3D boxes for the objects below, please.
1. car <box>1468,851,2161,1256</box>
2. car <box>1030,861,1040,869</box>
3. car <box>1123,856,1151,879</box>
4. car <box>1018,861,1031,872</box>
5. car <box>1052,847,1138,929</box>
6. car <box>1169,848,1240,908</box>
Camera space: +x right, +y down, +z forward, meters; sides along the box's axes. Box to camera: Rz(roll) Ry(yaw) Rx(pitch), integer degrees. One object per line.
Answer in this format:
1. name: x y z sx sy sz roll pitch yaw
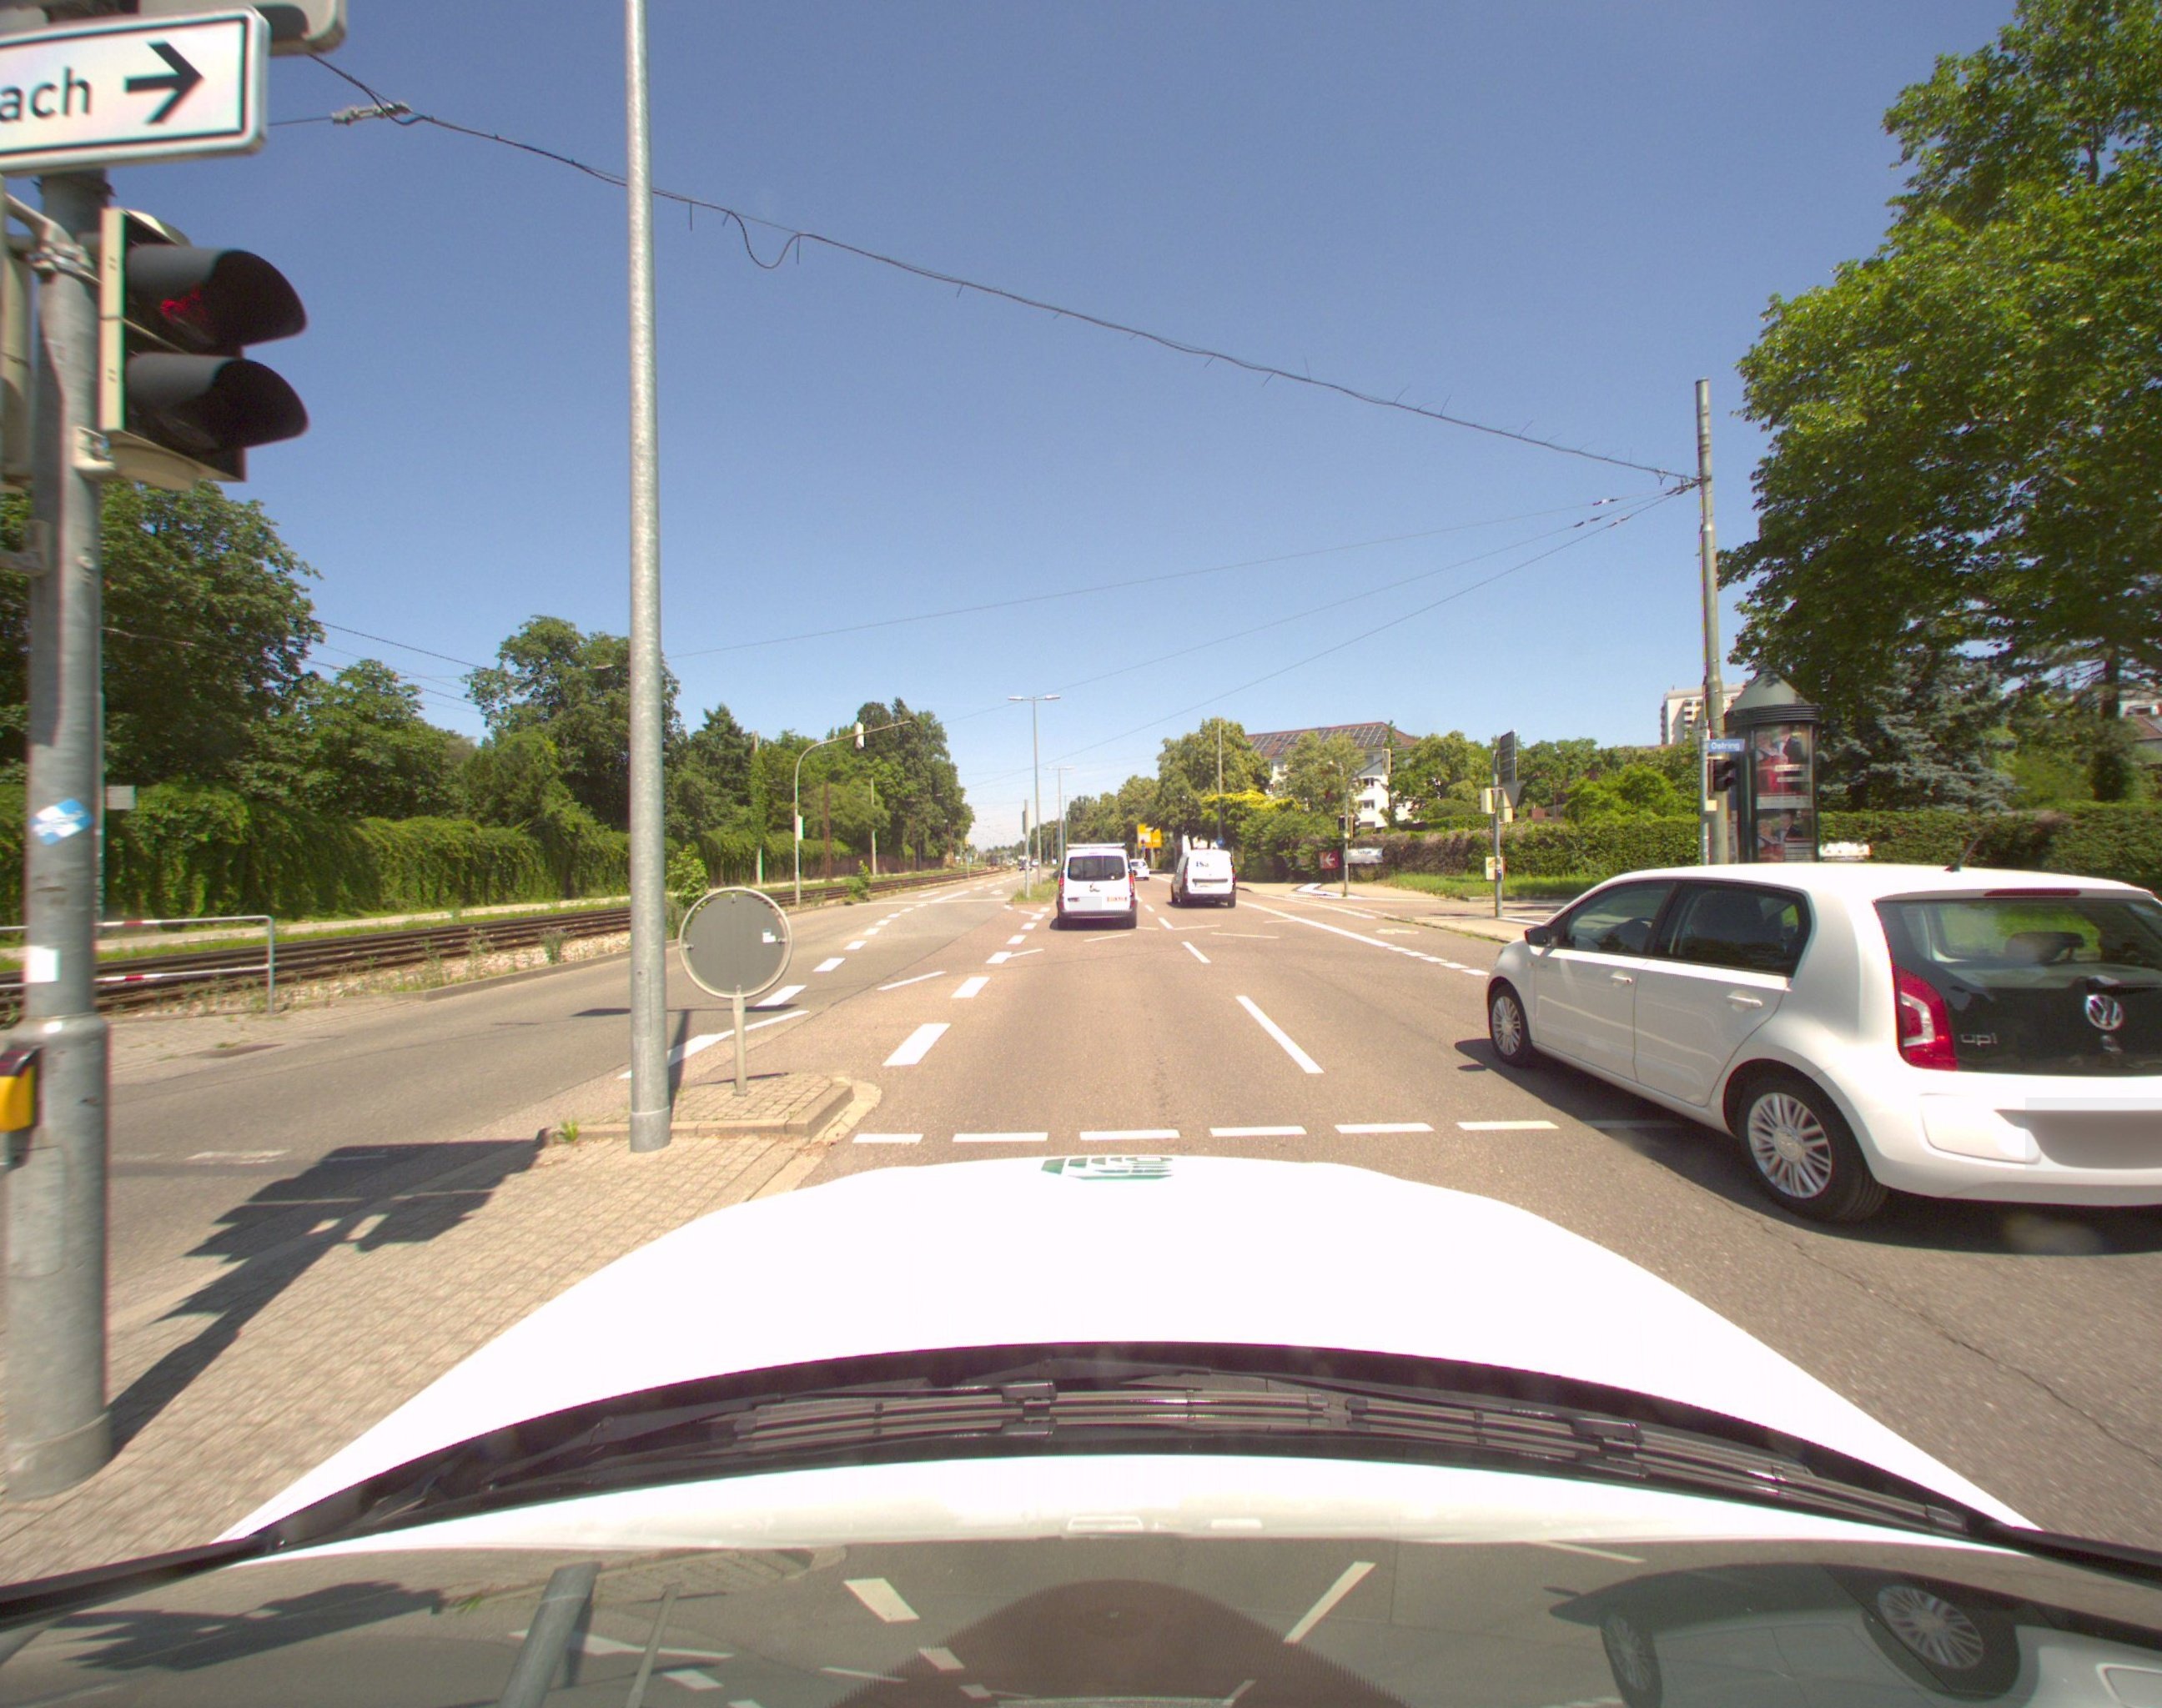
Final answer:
1. car: 3.777 0.711 4.640 1.603 1.447 3.437 0 0 2
2. car: -10.975 2.670 194.267 1.987 1.816 4.000 -1 0 0
3. car: 4.054 0.979 59.197 1.828 1.568 4.001 0 0 1
4. car: -8.470 1.921 122.547 1.692 1.512 4.065 -1 0 0
5. car: 0.347 0.719 19.444 1.814 1.739 4.397 0 0 1
6. car: 3.917 0.722 26.457 1.722 1.788 4.064 0 0 0
